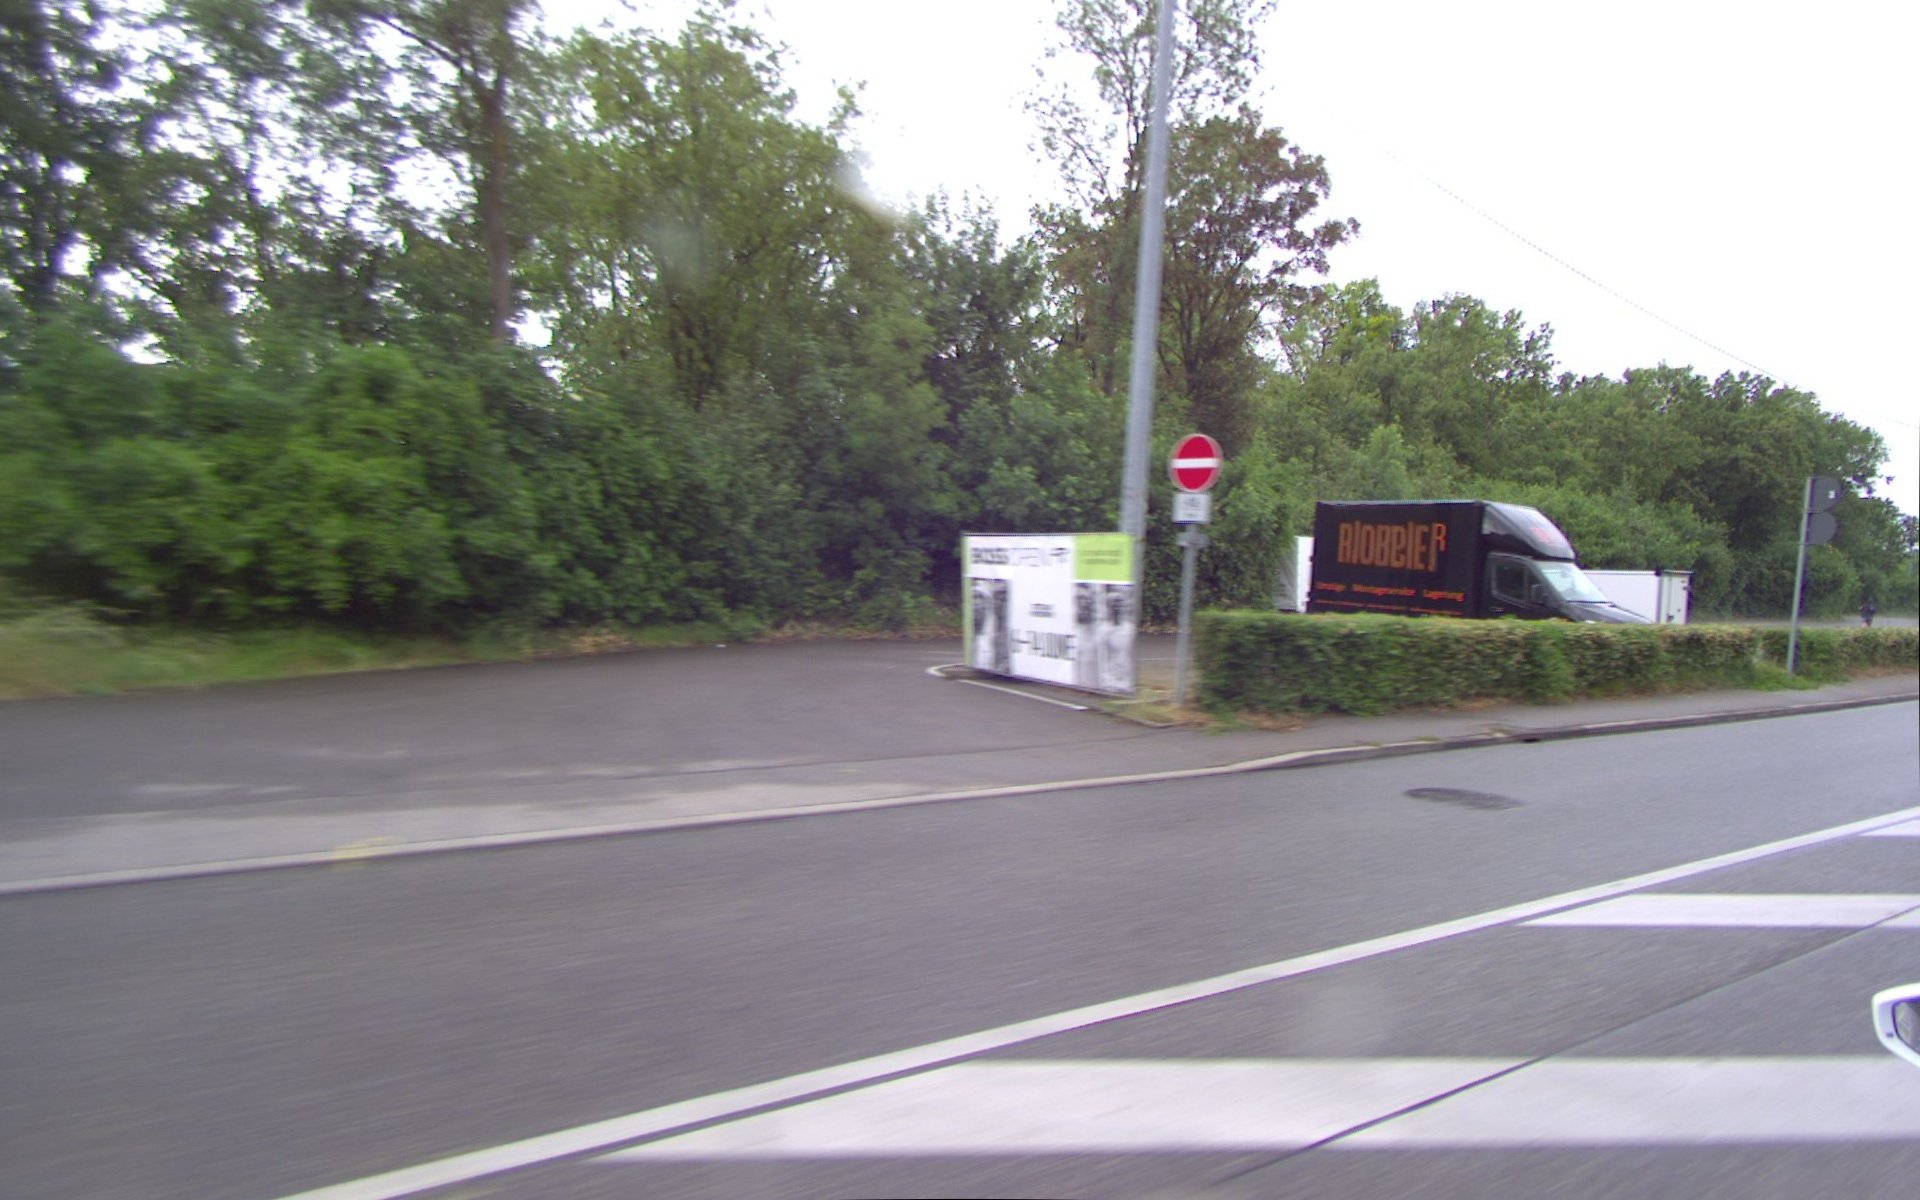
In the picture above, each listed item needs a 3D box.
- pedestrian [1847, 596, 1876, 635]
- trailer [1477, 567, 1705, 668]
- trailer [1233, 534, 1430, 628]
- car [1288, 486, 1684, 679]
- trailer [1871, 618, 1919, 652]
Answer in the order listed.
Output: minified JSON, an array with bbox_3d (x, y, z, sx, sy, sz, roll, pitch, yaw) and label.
[{"bbox_3d":[43.146,0.719,48.060,1.126,1.822,0.810,1,2,-40],"label":"pedestrian"},{"bbox_3d":[14.271,0.332,22.940,1.853,2.080,3.963,1,1,-33],"label":"trailer"},{"bbox_3d":[12.972,-0.554,34.707,7.903,2.912,2.457,1,1,-37],"label":"trailer"},{"bbox_3d":[9.968,-0.360,19.697,2.726,3.155,6.227,2,1,-36],"label":"car"},{"bbox_3d":[31.759,1.177,33.550,1.323,1.048,1.786,1,2,-40],"label":"trailer"}]
